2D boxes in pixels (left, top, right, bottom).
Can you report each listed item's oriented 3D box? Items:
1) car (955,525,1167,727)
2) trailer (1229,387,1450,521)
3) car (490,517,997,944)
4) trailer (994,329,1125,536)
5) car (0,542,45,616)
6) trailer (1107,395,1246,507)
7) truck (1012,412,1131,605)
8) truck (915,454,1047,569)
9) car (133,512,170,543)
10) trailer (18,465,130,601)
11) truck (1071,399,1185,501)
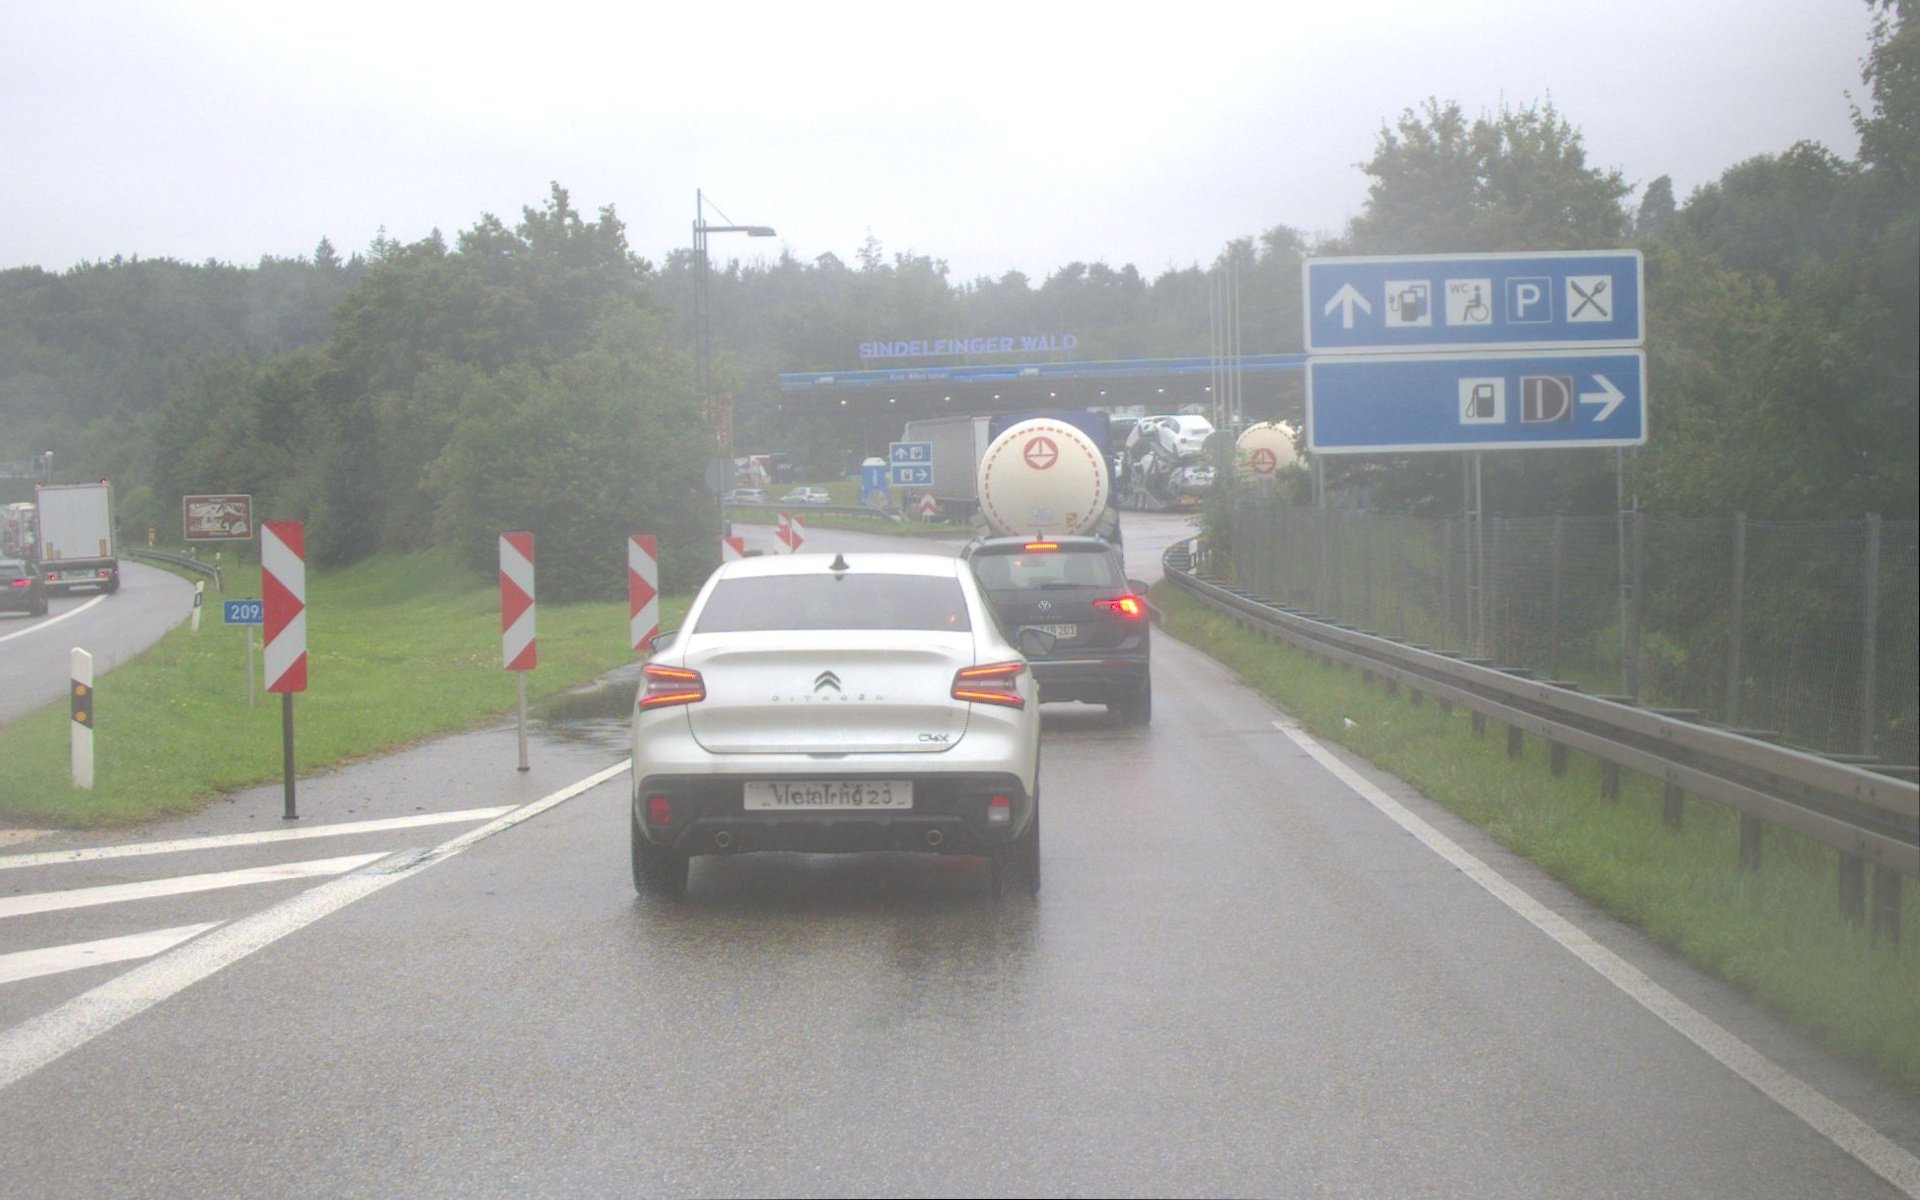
[{"bbox_3d":[0.865,0.192,30.383,1.742,1.661,4.000,0,1,1],"label":"car"},{"bbox_3d":[10.712,-4.144,95.894,2.135,3.428,10.237,-1,3,30],"label":"trailer"},{"bbox_3d":[-0.882,0.482,15.641,1.993,1.673,4.000,1,1,-1],"label":"car"},{"bbox_3d":[1.804,-2.882,59.567,1.980,3.213,10.322,-2,3,3],"label":"trailer"},{"bbox_3d":[-24.823,-0.571,88.905,1.993,1.809,4.001,0,2,-12],"label":"car"},{"bbox_3d":[8.495,-5.941,136.583,3.215,4.174,11.533,-2,3,-8],"label":"trailer"},{"bbox_3d":[2.184,-1.795,66.034,2.053,3.518,4.746,-2,2,4],"label":"truck"},{"bbox_3d":[0.649,-3.325,124.686,2.370,3.860,12.459,-3,3,-10],"label":"truck"},{"bbox_3d":[-53.435,-4.778,227.254,1.993,2.007,4.001,1,1,-18],"label":"car"},{"bbox_3d":[-32.456,-2.434,125.986,3.547,4.596,12.124,-3,1,-14],"label":"trailer"},{"bbox_3d":[7.097,-6.404,146.506,3.233,4.173,8.447,-2,3,-8],"label":"truck"}]
